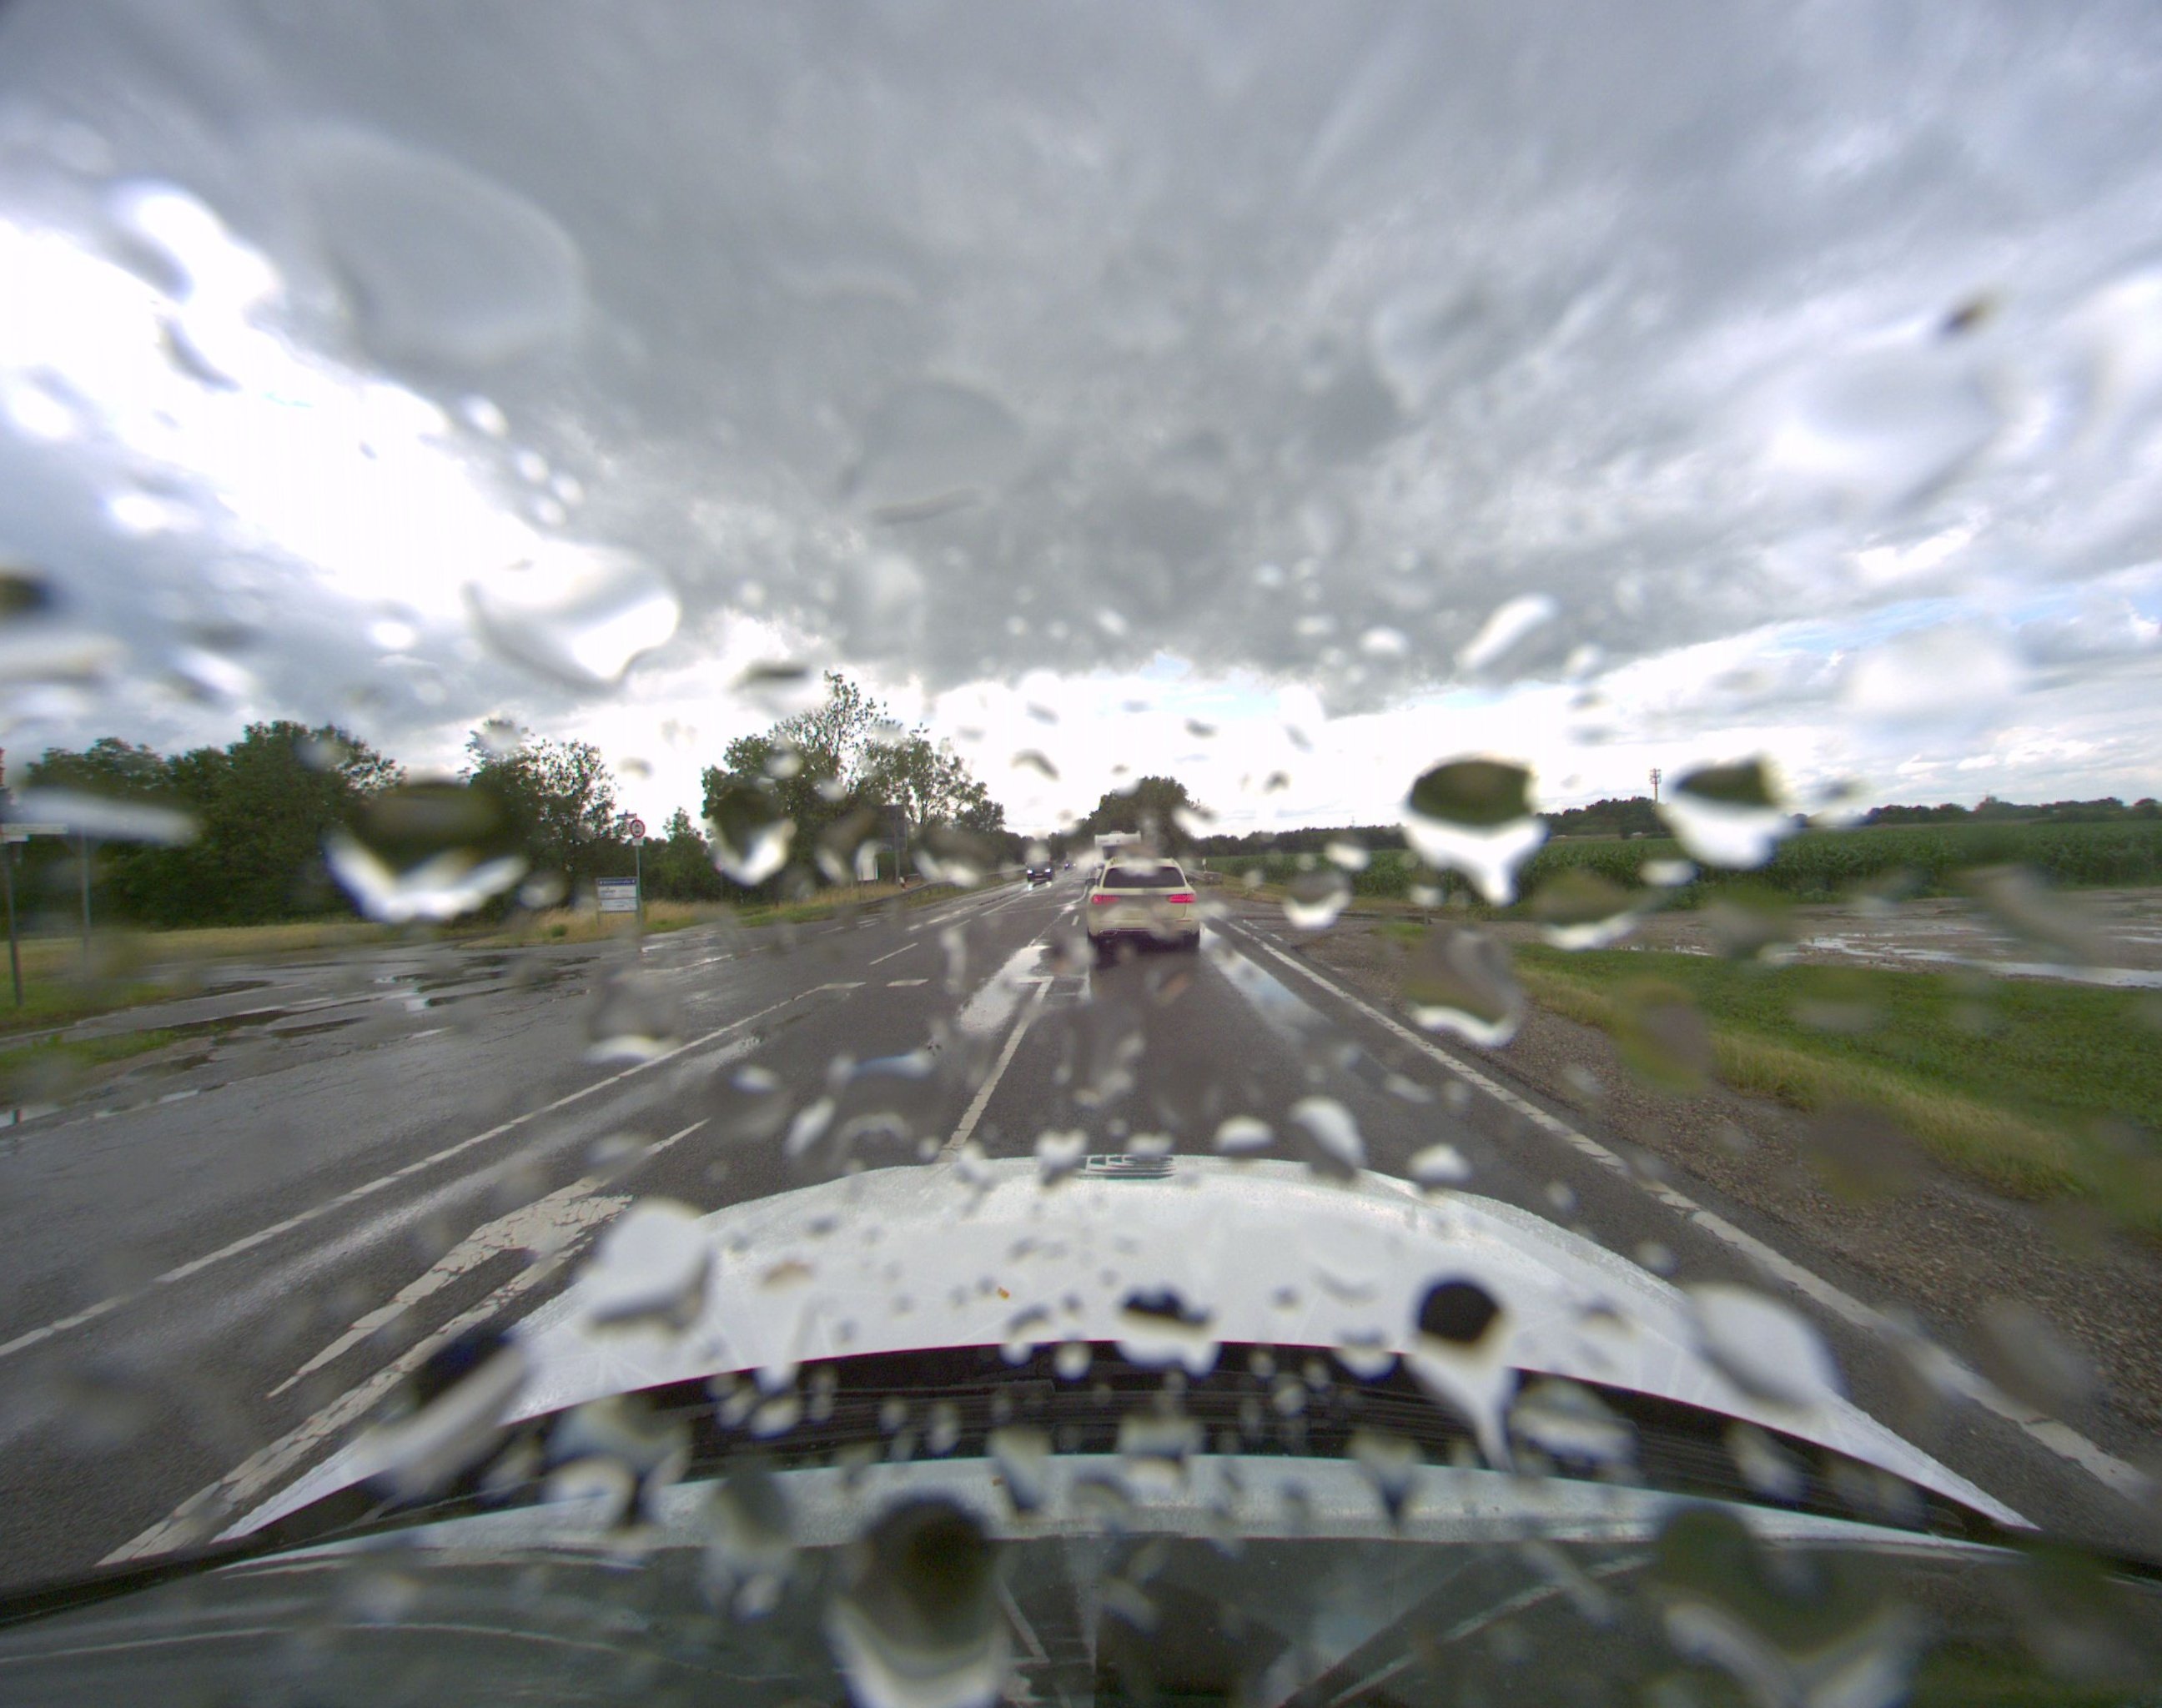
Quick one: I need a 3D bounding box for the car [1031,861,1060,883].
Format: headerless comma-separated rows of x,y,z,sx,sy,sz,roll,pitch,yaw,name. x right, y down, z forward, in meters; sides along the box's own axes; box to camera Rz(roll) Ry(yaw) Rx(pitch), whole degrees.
-2.618,1.349,61.236,1.821,1.574,4.002,0,-1,2,car

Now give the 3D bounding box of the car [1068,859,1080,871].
-0.932,1.548,113.015,1.574,1.640,3.442,-2,0,1,car

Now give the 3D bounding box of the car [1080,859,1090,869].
0.875,2.047,170.840,1.845,2.013,3.812,-2,0,2,car

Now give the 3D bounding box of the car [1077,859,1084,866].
-0.169,1.983,200.119,1.744,1.662,3.670,-1,0,-2,car

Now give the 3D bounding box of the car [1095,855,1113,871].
2.786,1.113,98.200,1.907,1.841,3.800,-2,0,4,car

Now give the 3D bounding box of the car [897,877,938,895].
-15.371,2.973,76.992,2.288,1.547,4.644,0,-1,9,car

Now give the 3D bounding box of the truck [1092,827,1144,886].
1.905,0.135,42.936,2.354,2.729,7.317,-2,0,2,truck

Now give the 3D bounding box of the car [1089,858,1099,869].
2.322,1.701,144.025,1.784,1.777,3.722,-2,0,2,car

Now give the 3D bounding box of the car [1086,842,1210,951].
1.069,0.657,14.249,1.836,1.618,4.001,-1,0,2,car

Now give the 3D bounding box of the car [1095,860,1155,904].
1.556,0.967,29.436,1.986,1.462,4.001,1,-1,2,car

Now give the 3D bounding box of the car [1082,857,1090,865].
1.196,1.653,190.512,1.733,1.860,3.786,-2,0,2,car

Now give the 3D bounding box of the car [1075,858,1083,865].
-0.545,1.941,209.042,1.890,1.895,3.841,-2,-1,-1,car
